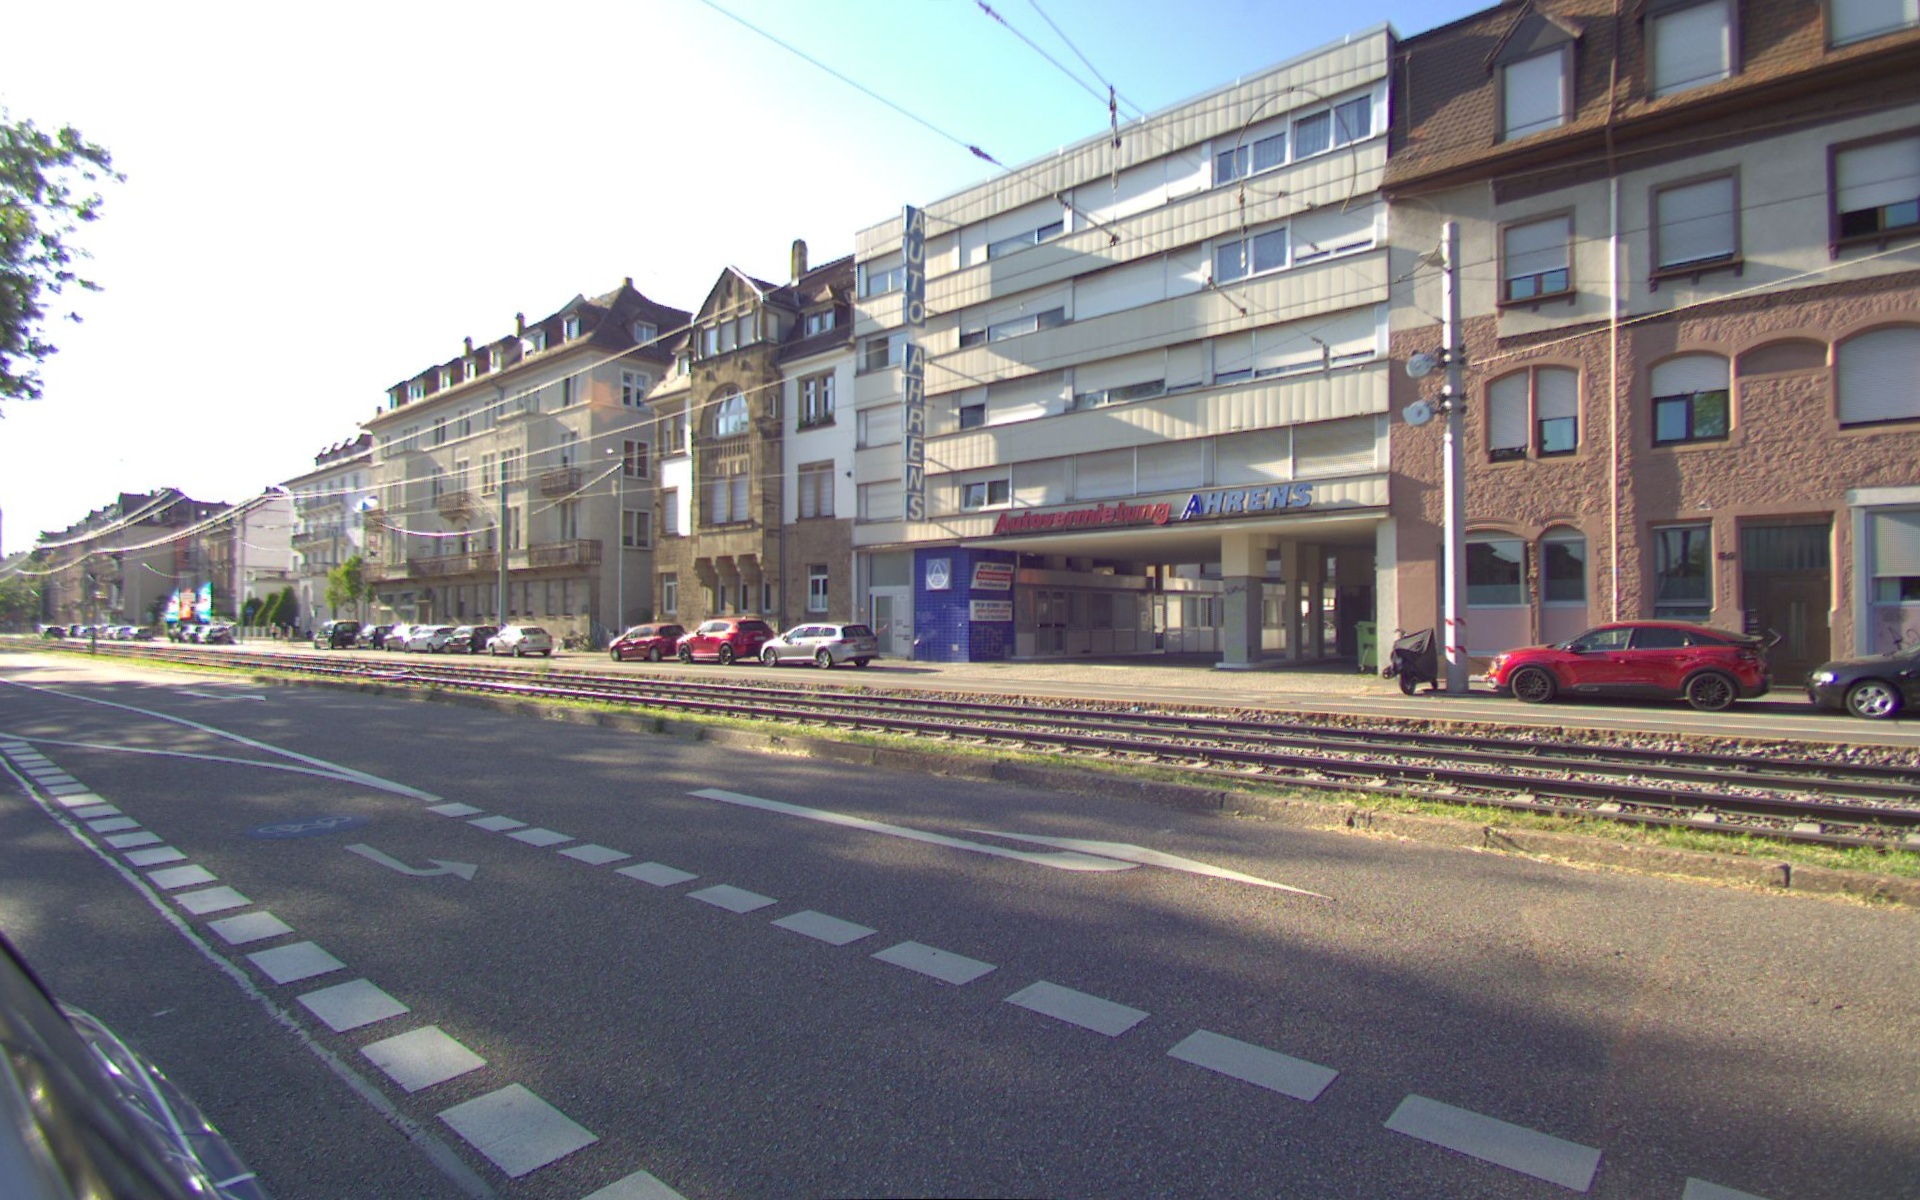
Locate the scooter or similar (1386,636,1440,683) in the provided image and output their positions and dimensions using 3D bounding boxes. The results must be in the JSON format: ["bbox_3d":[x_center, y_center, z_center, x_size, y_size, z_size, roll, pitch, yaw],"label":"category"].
[{"bbox_3d":[10.570,1.377,23.646,1.121,1.077,0.202,-2,-1,42],"label":"scooter or similar"}]

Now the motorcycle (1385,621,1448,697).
[{"bbox_3d":[9.469,1.194,20.946,0.628,1.433,1.835,-3,-1,42],"label":"motorcycle"}]

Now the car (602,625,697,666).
[{"bbox_3d":[-12.475,1.811,40.611,3.722,1.507,1.736,-2,0,36],"label":"car"}]

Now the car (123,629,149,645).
[{"bbox_3d":[-87.375,3.872,107.311,3.449,1.602,1.603,-1,-1,42],"label":"car"}]

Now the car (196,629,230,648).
[{"bbox_3d":[-64.274,3.302,87.062,3.387,1.583,1.662,-1,-1,42],"label":"car"}]

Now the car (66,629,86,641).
[{"bbox_3d":[-119.892,4.757,137.262,3.449,1.602,1.603,-1,-1,42],"label":"car"}]

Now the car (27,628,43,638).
[{"bbox_3d":[-153.297,5.465,167.676,3.449,1.602,1.603,-1,-1,42],"label":"car"}]

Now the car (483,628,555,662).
[{"bbox_3d":[-21.200,2.141,48.598,3.822,1.490,1.778,-2,-1,42],"label":"car"}]

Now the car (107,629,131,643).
[{"bbox_3d":[-94.334,4.028,113.550,3.449,1.602,1.603,-1,-1,42],"label":"car"}]

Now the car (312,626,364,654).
[{"bbox_3d":[-40.426,2.577,65.767,3.914,1.750,1.851,-2,-1,42],"label":"car"}]

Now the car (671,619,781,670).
[{"bbox_3d":[-8.641,1.598,37.126,4.262,1.700,1.836,-2,0,43],"label":"car"}]

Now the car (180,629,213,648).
[{"bbox_3d":[-67.980,3.383,90.104,3.387,1.583,1.662,-1,-1,42],"label":"car"}]

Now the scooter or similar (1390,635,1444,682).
[{"bbox_3d":[10.757,1.367,23.854,1.121,1.077,0.202,-2,-1,42],"label":"scooter or similar"}]

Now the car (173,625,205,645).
[{"bbox_3d":[-71.799,3.275,94.224,3.879,1.800,1.705,-1,-1,42],"label":"car"}]

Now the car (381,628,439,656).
[{"bbox_3d":[-31.778,2.396,58.414,3.822,1.490,1.778,-2,-1,42],"label":"car"}]

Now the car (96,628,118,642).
[{"bbox_3d":[-102.786,4.229,121.919,3.449,1.602,1.603,-1,-1,42],"label":"car"}]

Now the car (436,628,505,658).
[{"bbox_3d":[-25.226,2.215,52.146,3.820,1.441,1.779,-2,-1,40],"label":"car"}]

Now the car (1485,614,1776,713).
[{"bbox_3d":[12.111,1.085,18.434,4.208,1.510,1.837,-2,1,41],"label":"car"}]

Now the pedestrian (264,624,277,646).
[{"bbox_3d":[-56.669,2.858,83.175,0.677,1.803,0.716,-2,-3,41],"label":"pedestrian"}]

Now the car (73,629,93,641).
[{"bbox_3d":[-116.191,4.647,134.040,3.449,1.602,1.603,-1,-1,42],"label":"car"}]

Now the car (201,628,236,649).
[{"bbox_3d":[-60.699,3.138,82.805,3.407,1.644,1.655,-2,-1,42],"label":"car"}]

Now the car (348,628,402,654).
[{"bbox_3d":[-36.154,2.512,62.512,3.822,1.490,1.778,-2,-1,42],"label":"car"}]

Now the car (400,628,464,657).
[{"bbox_3d":[-28.493,2.295,54.614,3.531,1.457,1.624,-2,-1,35],"label":"car"}]

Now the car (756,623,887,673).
[{"bbox_3d":[-4.637,1.564,33.572,4.379,1.510,1.837,-2,0,41],"label":"car"}]

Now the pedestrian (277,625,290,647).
[{"bbox_3d":[-56.020,2.967,83.750,0.677,1.803,0.716,-2,-3,41],"label":"pedestrian"}]

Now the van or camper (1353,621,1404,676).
[{"bbox_3d":[10.832,1.242,26.183,0.803,1.368,1.409,-2,-2,41],"label":"van or camper"}]

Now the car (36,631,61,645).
[{"bbox_3d":[-105.910,4.403,117.561,3.999,1.697,1.798,-2,-2,42],"label":"car"}]

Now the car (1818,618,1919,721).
[{"bbox_3d":[15.408,1.021,15.112,3.926,1.448,1.678,-2,1,41],"label":"car"}]
